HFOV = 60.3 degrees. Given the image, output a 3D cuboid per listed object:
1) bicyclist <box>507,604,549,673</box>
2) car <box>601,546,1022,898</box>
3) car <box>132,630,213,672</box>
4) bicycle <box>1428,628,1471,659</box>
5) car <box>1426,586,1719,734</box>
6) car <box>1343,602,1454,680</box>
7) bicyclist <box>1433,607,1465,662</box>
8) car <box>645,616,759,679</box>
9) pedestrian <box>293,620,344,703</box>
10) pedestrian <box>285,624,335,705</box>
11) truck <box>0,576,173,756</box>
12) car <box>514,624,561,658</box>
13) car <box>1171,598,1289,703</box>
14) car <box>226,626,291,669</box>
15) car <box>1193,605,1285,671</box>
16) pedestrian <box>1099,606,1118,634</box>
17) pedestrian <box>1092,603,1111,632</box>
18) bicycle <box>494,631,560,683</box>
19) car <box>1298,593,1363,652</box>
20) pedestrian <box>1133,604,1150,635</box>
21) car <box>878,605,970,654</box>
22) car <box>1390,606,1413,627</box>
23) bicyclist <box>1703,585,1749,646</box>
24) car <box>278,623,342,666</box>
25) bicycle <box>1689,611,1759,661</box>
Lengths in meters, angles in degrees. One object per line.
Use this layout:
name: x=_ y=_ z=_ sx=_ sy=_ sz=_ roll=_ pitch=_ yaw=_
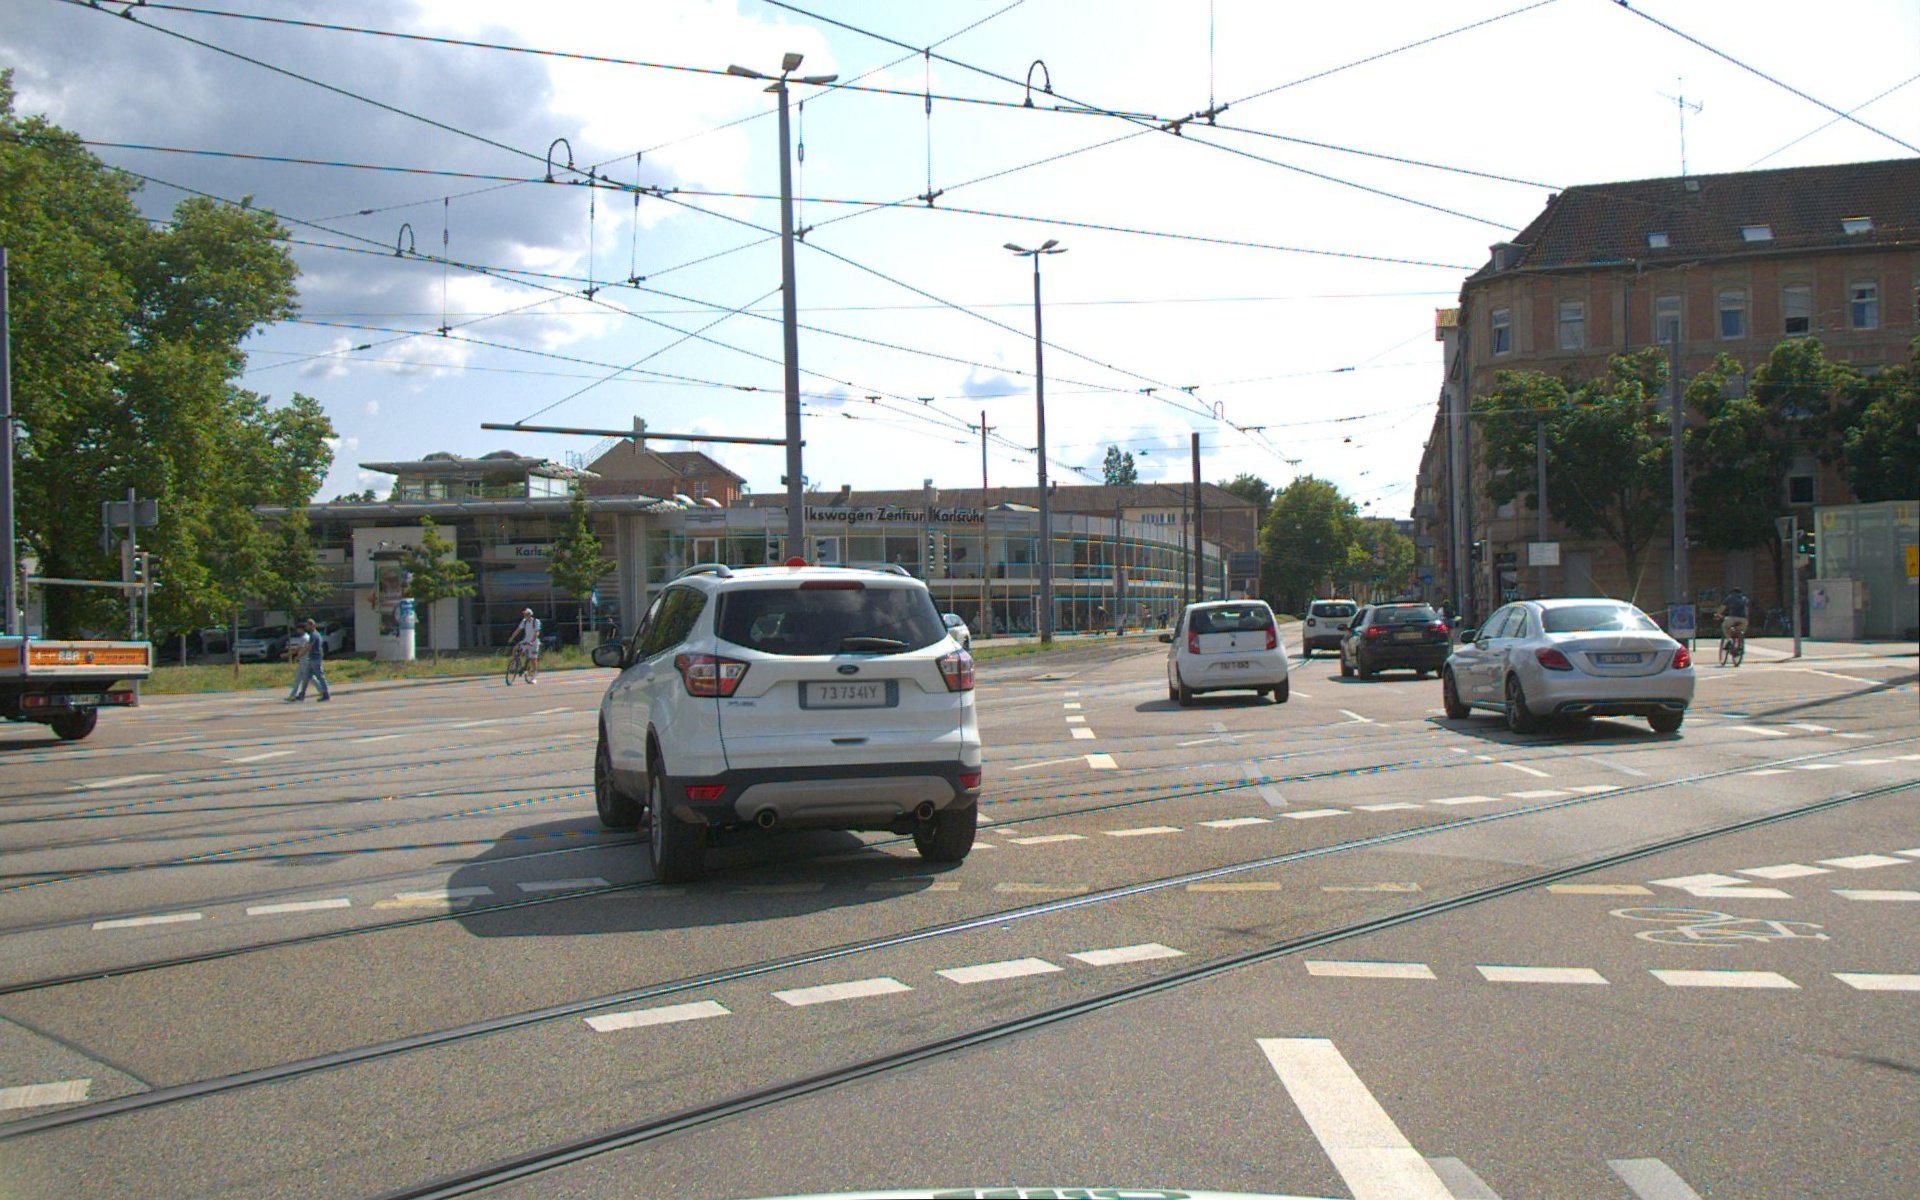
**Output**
bicyclist: x=-10.942 y=0.963 z=41.907 sx=0.743 sy=1.712 sz=0.761 roll=-2 pitch=-1 yaw=10
car: x=-1.127 y=0.615 z=10.245 sx=1.798 sy=1.693 sz=3.936 roll=-1 pitch=-1 yaw=-17
car: x=-39.904 y=2.598 z=83.922 sx=1.929 sy=1.971 sz=5.063 roll=-3 pitch=-1 yaw=-5
bicycle: x=13.282 y=1.177 z=44.927 sx=0.573 sy=0.789 sz=1.619 roll=-1 pitch=-1 yaw=-4
car: x=6.938 y=0.657 z=19.323 sx=1.890 sy=1.481 sz=4.761 roll=-1 pitch=-1 yaw=3
car: x=8.520 y=0.773 z=32.436 sx=1.662 sy=1.396 sz=4.136 roll=-1 pitch=-1 yaw=9
bicyclist: x=13.278 y=0.942 z=44.934 sx=0.596 sy=1.476 sz=0.774 roll=-1 pitch=-1 yaw=-3
car: x=-6.396 y=1.155 z=41.371 sx=1.700 sy=1.397 sz=3.644 roll=-2 pitch=-1 yaw=9
pedestrian: x=-13.922 y=1.324 z=35.891 sx=0.915 sy=1.774 sz=0.582 roll=1 pitch=-2 yaw=-33
pedestrian: x=-14.456 y=1.425 z=36.787 sx=0.915 sy=1.774 sz=0.582 roll=1 pitch=-2 yaw=-33
truck: x=-13.702 y=0.886 z=22.222 sx=5.712 sy=2.193 sz=2.346 roll=-2 pitch=-1 yaw=21
car: x=-21.028 y=2.051 z=82.447 sx=1.784 sy=1.560 sz=3.909 roll=-3 pitch=-1 yaw=-8
car: x=4.144 y=0.723 z=25.477 sx=1.614 sy=1.447 sz=4.003 roll=-2 pitch=0 yaw=9
car: x=-35.270 y=2.397 z=83.240 sx=1.931 sy=1.971 sz=4.222 roll=-3 pitch=-1 yaw=-8
car: x=6.455 y=0.857 z=38.016 sx=1.810 sy=1.444 sz=3.681 roll=-1 pitch=-1 yaw=14
pedestrian: x=9.180 y=1.234 z=102.175 sx=0.859 sy=1.768 sz=0.874 roll=0 pitch=-2 yaw=31
pedestrian: x=8.589 y=1.080 z=100.323 sx=0.859 sy=1.768 sz=0.874 roll=0 pitch=-2 yaw=31
bicycle: x=-10.922 y=1.434 z=41.789 sx=0.743 sy=1.213 sz=2.152 roll=-2 pitch=-1 yaw=10
car: x=11.043 y=0.694 z=49.481 sx=1.797 sy=1.681 sz=4.003 roll=-1 pitch=-1 yaw=11
pedestrian: x=11.581 y=1.230 z=105.489 sx=0.858 sy=1.956 sz=0.875 roll=0 pitch=-2 yaw=29
car: x=-1.174 y=0.970 z=55.648 sx=1.859 sy=1.487 sz=3.970 roll=-3 pitch=-1 yaw=18
car: x=35.687 y=1.332 z=133.635 sx=1.797 sy=1.681 sz=4.002 roll=-1 pitch=-1 yaw=16
bicyclist: x=16.123 y=0.324 z=34.844 sx=0.621 sy=1.241 sz=0.924 roll=-2 pitch=0 yaw=10
car: x=-32.655 y=2.245 z=83.191 sx=1.957 sy=2.049 sz=4.222 roll=-3 pitch=-1 yaw=-8
bicycle: x=16.169 y=0.752 z=35.056 sx=0.829 sy=0.987 sz=1.962 roll=-2 pitch=0 yaw=10
